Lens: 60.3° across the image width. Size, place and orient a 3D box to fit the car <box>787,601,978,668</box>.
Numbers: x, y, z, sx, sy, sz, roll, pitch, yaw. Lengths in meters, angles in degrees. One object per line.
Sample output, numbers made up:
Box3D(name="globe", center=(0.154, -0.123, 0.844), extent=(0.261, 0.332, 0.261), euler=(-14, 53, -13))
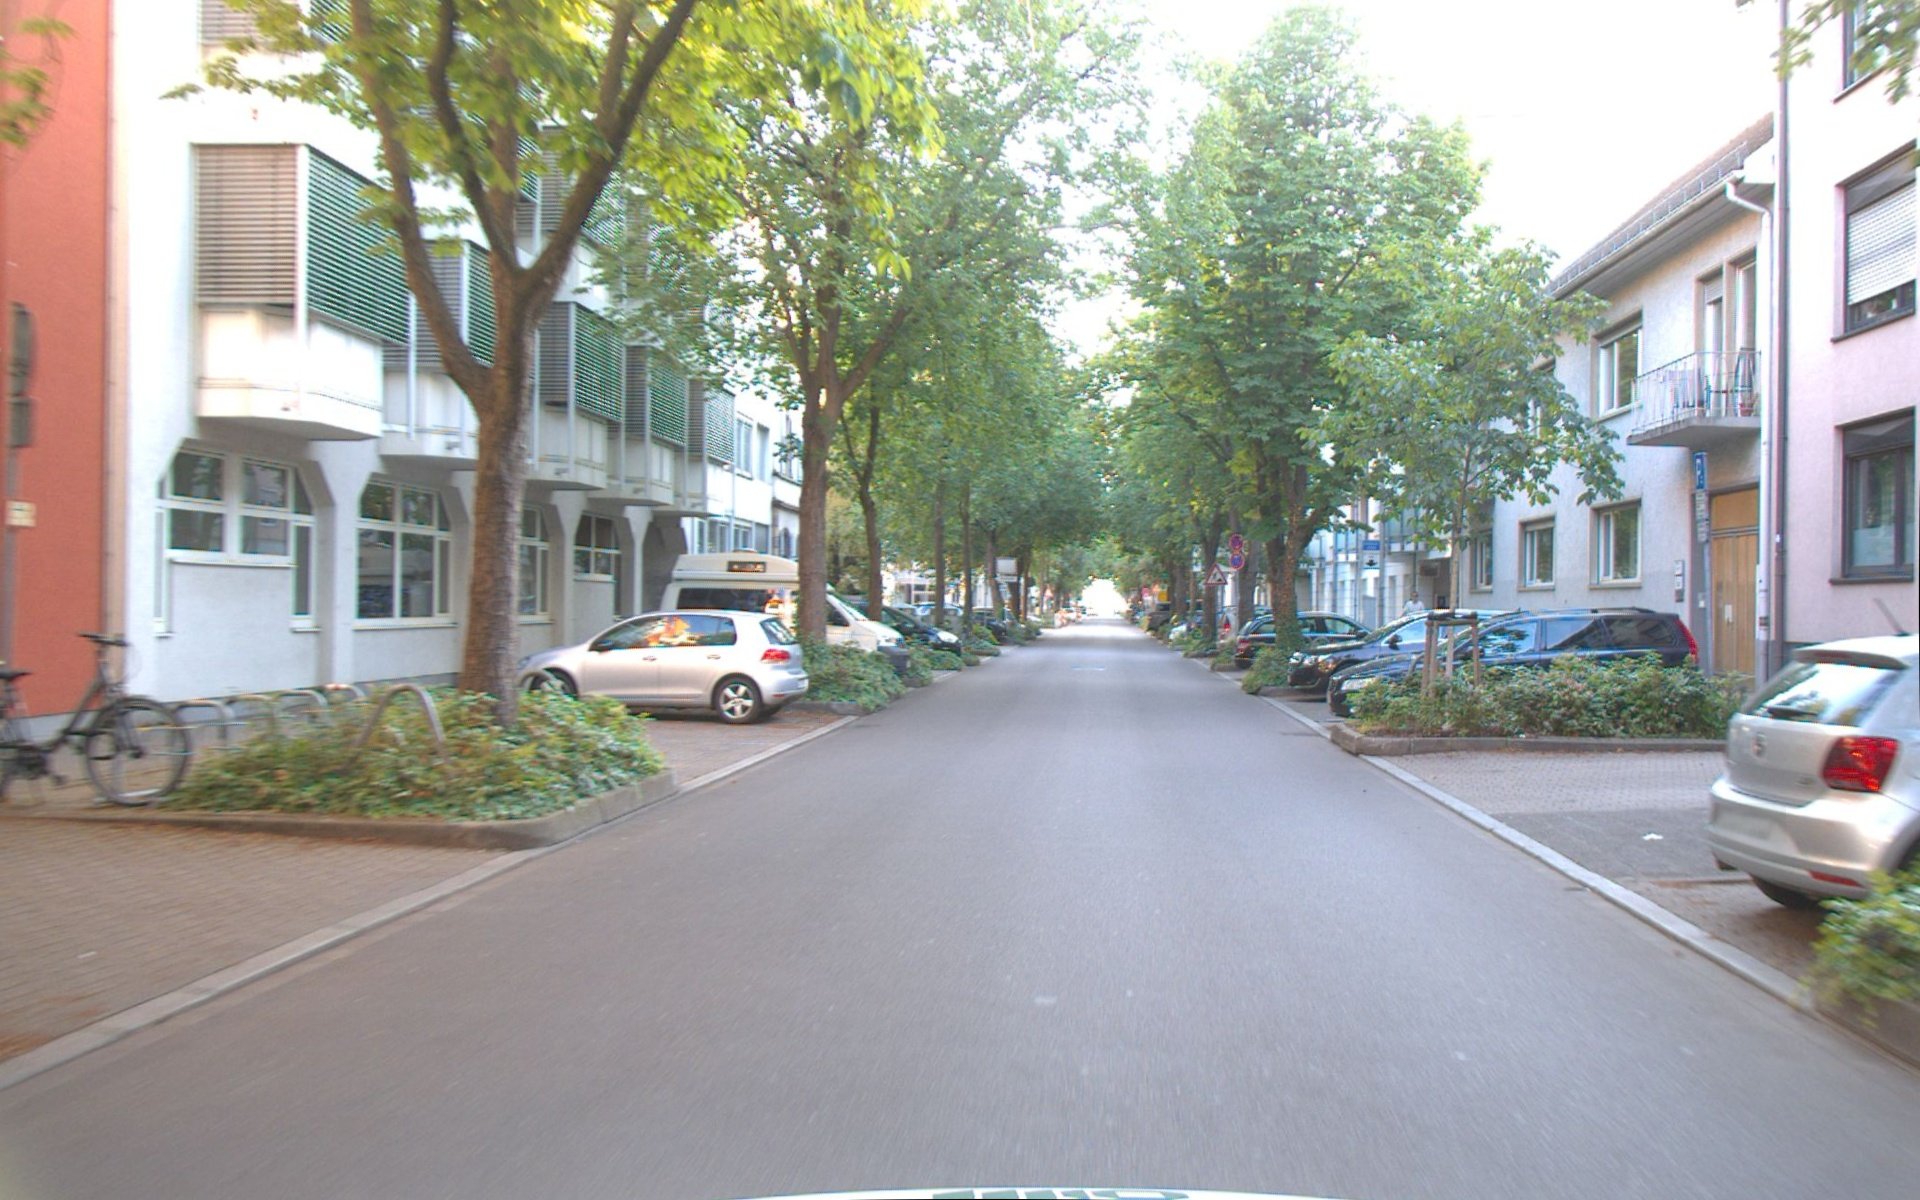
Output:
Box3D(name="car", center=(-1.994, 0.886, 43.561), extent=(4.750, 1.650, 2.161), euler=(1, 0, 6))

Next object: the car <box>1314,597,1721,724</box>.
Box3D(name="car", center=(7.177, 0.777, 21.782), extent=(4.737, 1.473, 2.043), euler=(-2, -1, 7))

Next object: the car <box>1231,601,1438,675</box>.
Box3D(name="car", center=(8.313, 0.841, 37.066), extent=(4.364, 1.452, 2.013), euler=(-2, -1, 9))

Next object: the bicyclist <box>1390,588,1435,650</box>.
Box3D(name="bicyclist", center=(12.196, 0.504, 44.595), extent=(0.950, 1.632, 1.136), euler=(0, 0, 3))

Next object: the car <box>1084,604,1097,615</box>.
Box3D(name="car", center=(19.769, 1.428, 250.709), extent=(1.967, 1.641, 4.122), euler=(1, 1, 4))

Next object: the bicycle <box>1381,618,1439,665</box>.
Box3D(name="bicycle", center=(12.019, 1.085, 44.282), extent=(0.608, 1.184, 3.401), euler=(0, 0, 0))

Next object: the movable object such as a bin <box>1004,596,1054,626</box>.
Box3D(name="movable object such as a bin", center=(5.713, 0.871, 136.903), extent=(3.963, 2.425, 2.784), euler=(0, 0, -1))

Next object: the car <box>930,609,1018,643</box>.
Box3D(name="car", center=(0.674, 1.176, 75.655), extent=(3.903, 1.490, 1.923), euler=(1, 0, 3))

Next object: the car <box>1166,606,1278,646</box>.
Box3D(name="car", center=(11.104, 1.088, 70.241), extent=(4.503, 1.494, 1.797), euler=(-3, -1, 4))

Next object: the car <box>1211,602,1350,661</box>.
Box3D(name="car", center=(9.682, 0.941, 50.203), extent=(3.885, 1.613, 1.917), euler=(-2, -1, 4))

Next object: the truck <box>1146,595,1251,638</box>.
Box3D(name="truck", center=(13.413, 0.917, 93.359), extent=(5.763, 2.351, 2.214), euler=(0, -1, 6))

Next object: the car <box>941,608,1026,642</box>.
Box3D(name="car", center=(1.166, 1.218, 80.682), extent=(3.902, 1.593, 1.931), euler=(1, 0, 10))

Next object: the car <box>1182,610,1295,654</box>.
Box3D(name="car", center=(10.771, 1.219, 64.218), extent=(4.000, 1.476, 1.934), euler=(-3, -1, 0))

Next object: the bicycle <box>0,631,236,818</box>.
Box3D(name="bicycle", center=(-5.923, 0.809, 10.985), extent=(1.919, 1.197, 0.656), euler=(0, -1, -1))

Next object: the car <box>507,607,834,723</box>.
Box3D(name="car", center=(-3.952, 0.868, 22.990), extent=(4.080, 1.494, 1.954), euler=(0, 0, 6))

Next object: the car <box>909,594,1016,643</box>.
Box3D(name="car", center=(0.129, 0.785, 70.462), extent=(4.410, 1.989, 2.001), euler=(1, -1, 3))

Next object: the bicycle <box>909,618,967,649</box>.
Box3D(name="bicycle", center=(-0.595, 0.917, 45.574), extent=(1.519, 0.845, 0.614), euler=(1, -1, 8))

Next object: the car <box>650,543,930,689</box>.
Box3D(name="car", center=(-3.134, 0.284, 31.196), extent=(4.898, 2.618, 2.122), euler=(1, 0, 5))

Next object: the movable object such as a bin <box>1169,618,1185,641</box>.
Box3D(name="movable object such as a bin", center=(10.679, 1.443, 81.363), extent=(0.744, 1.103, 0.786), euler=(-1, -1, 6))

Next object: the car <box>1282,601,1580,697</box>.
Box3D(name="car", center=(7.913, 0.817, 28.212), extent=(4.579, 1.412, 2.002), euler=(-2, -1, 6))

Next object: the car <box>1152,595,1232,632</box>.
Box3D(name="car", center=(13.445, 0.774, 96.112), extent=(4.503, 2.102, 2.198), euler=(0, 0, 4))

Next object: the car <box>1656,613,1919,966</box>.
Box3D(name="car", center=(5.744, 0.849, 8.019), extent=(3.997, 1.516, 1.798), euler=(1, 0, 2))
